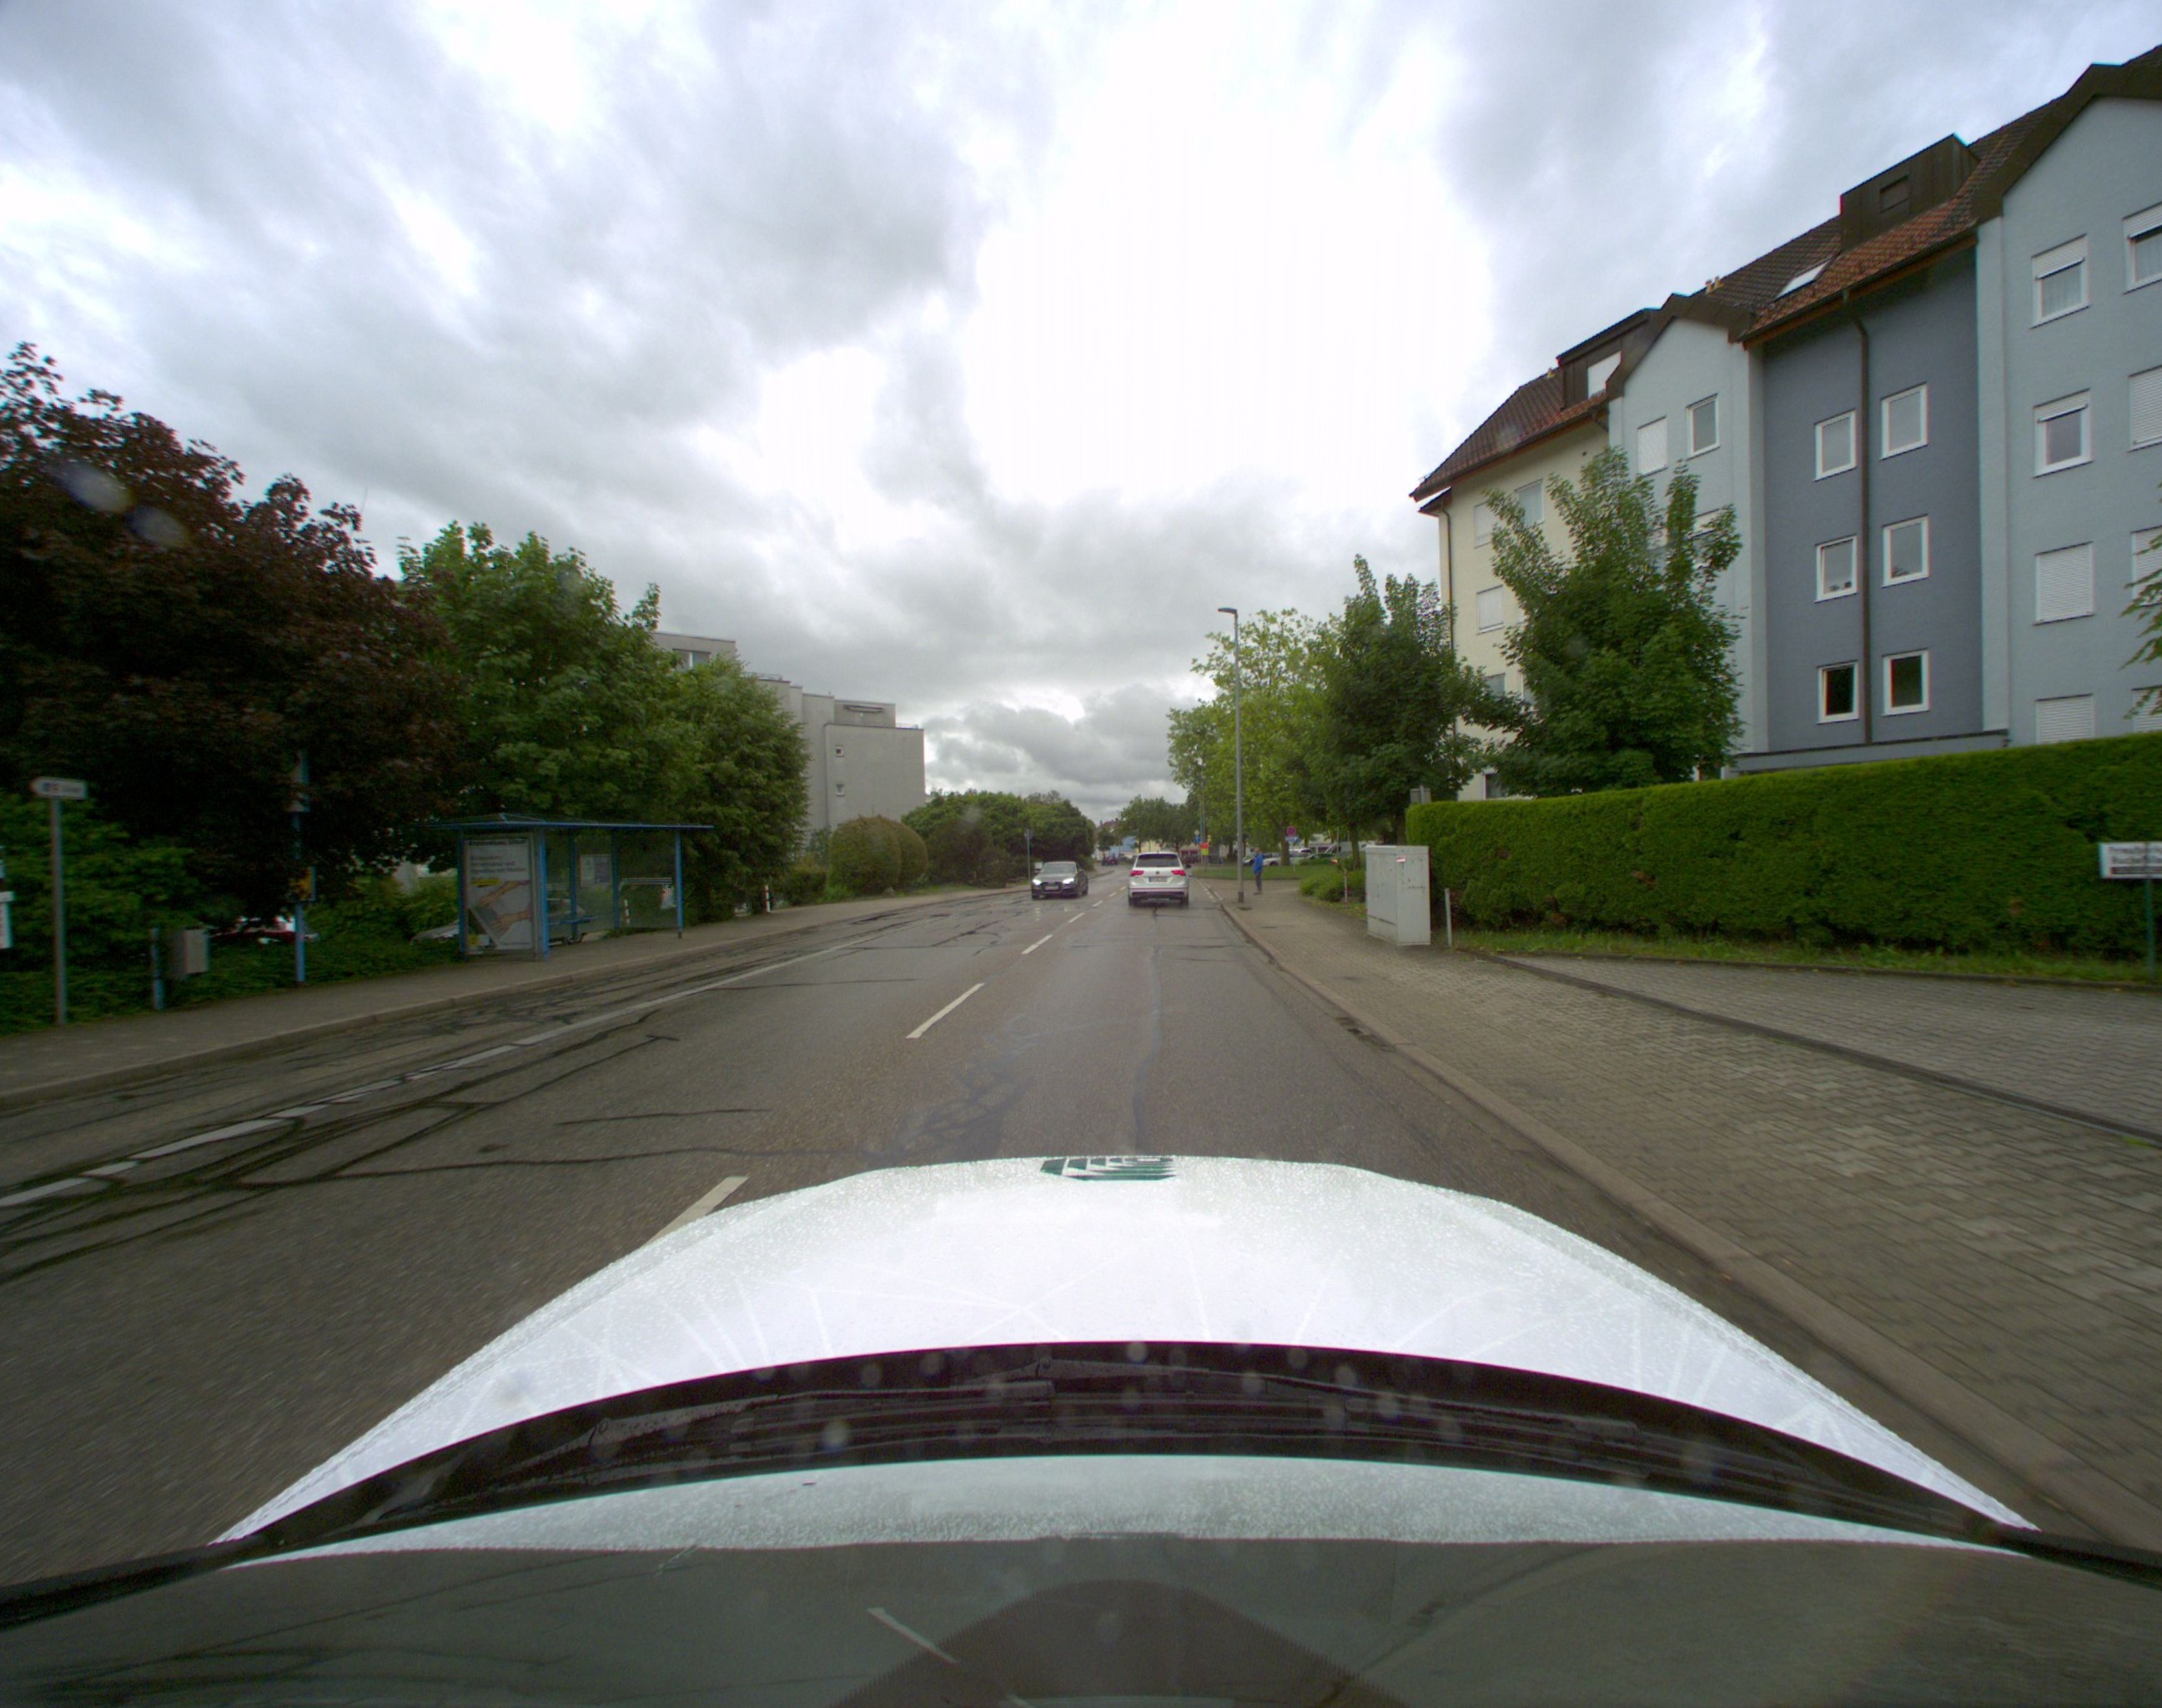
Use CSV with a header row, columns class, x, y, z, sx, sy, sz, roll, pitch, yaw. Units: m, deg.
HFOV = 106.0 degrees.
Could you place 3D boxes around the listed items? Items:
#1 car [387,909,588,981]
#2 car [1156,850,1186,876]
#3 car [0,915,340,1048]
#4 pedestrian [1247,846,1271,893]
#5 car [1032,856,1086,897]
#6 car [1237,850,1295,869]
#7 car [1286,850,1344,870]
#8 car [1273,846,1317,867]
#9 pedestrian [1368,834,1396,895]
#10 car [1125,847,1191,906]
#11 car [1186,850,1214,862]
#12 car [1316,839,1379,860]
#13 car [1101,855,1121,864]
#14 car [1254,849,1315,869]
class,x,y,z,sx,sy,sz,roll,pitch,yaw
car,-15.789,2.376,21.999,1.982,1.421,4.176,-2,0,8
car,5.779,0.571,52.749,1.761,1.551,4.004,-1,0,4
car,-14.380,1.850,12.790,1.762,1.464,4.001,-1,0,1
pedestrian,6.400,0.549,29.305,0.589,1.666,0.773,-1,0,-10
car,-0.810,0.834,31.859,1.666,1.443,4.005,-1,0,4
car,15.898,0.487,69.995,4.556,1.443,1.764,-2,0,1
car,18.474,0.469,64.415,3.995,1.443,1.765,-2,0,1
car,20.809,0.251,79.282,2.003,1.881,4.179,-1,0,-24
pedestrian,8.964,0.315,24.253,0.610,1.772,0.672,-1,0,5
car,2.470,0.665,25.663,1.855,1.650,4.008,-2,0,7
car,18.993,0.350,129.700,4.012,1.721,1.906,-1,0,-30
car,27.801,-0.441,85.050,5.809,2.013,1.997,-2,0,-4
car,4.624,0.901,128.060,1.998,1.420,3.978,-1,0,-16
car,16.796,0.431,67.329,4.556,1.443,1.764,-2,0,1
